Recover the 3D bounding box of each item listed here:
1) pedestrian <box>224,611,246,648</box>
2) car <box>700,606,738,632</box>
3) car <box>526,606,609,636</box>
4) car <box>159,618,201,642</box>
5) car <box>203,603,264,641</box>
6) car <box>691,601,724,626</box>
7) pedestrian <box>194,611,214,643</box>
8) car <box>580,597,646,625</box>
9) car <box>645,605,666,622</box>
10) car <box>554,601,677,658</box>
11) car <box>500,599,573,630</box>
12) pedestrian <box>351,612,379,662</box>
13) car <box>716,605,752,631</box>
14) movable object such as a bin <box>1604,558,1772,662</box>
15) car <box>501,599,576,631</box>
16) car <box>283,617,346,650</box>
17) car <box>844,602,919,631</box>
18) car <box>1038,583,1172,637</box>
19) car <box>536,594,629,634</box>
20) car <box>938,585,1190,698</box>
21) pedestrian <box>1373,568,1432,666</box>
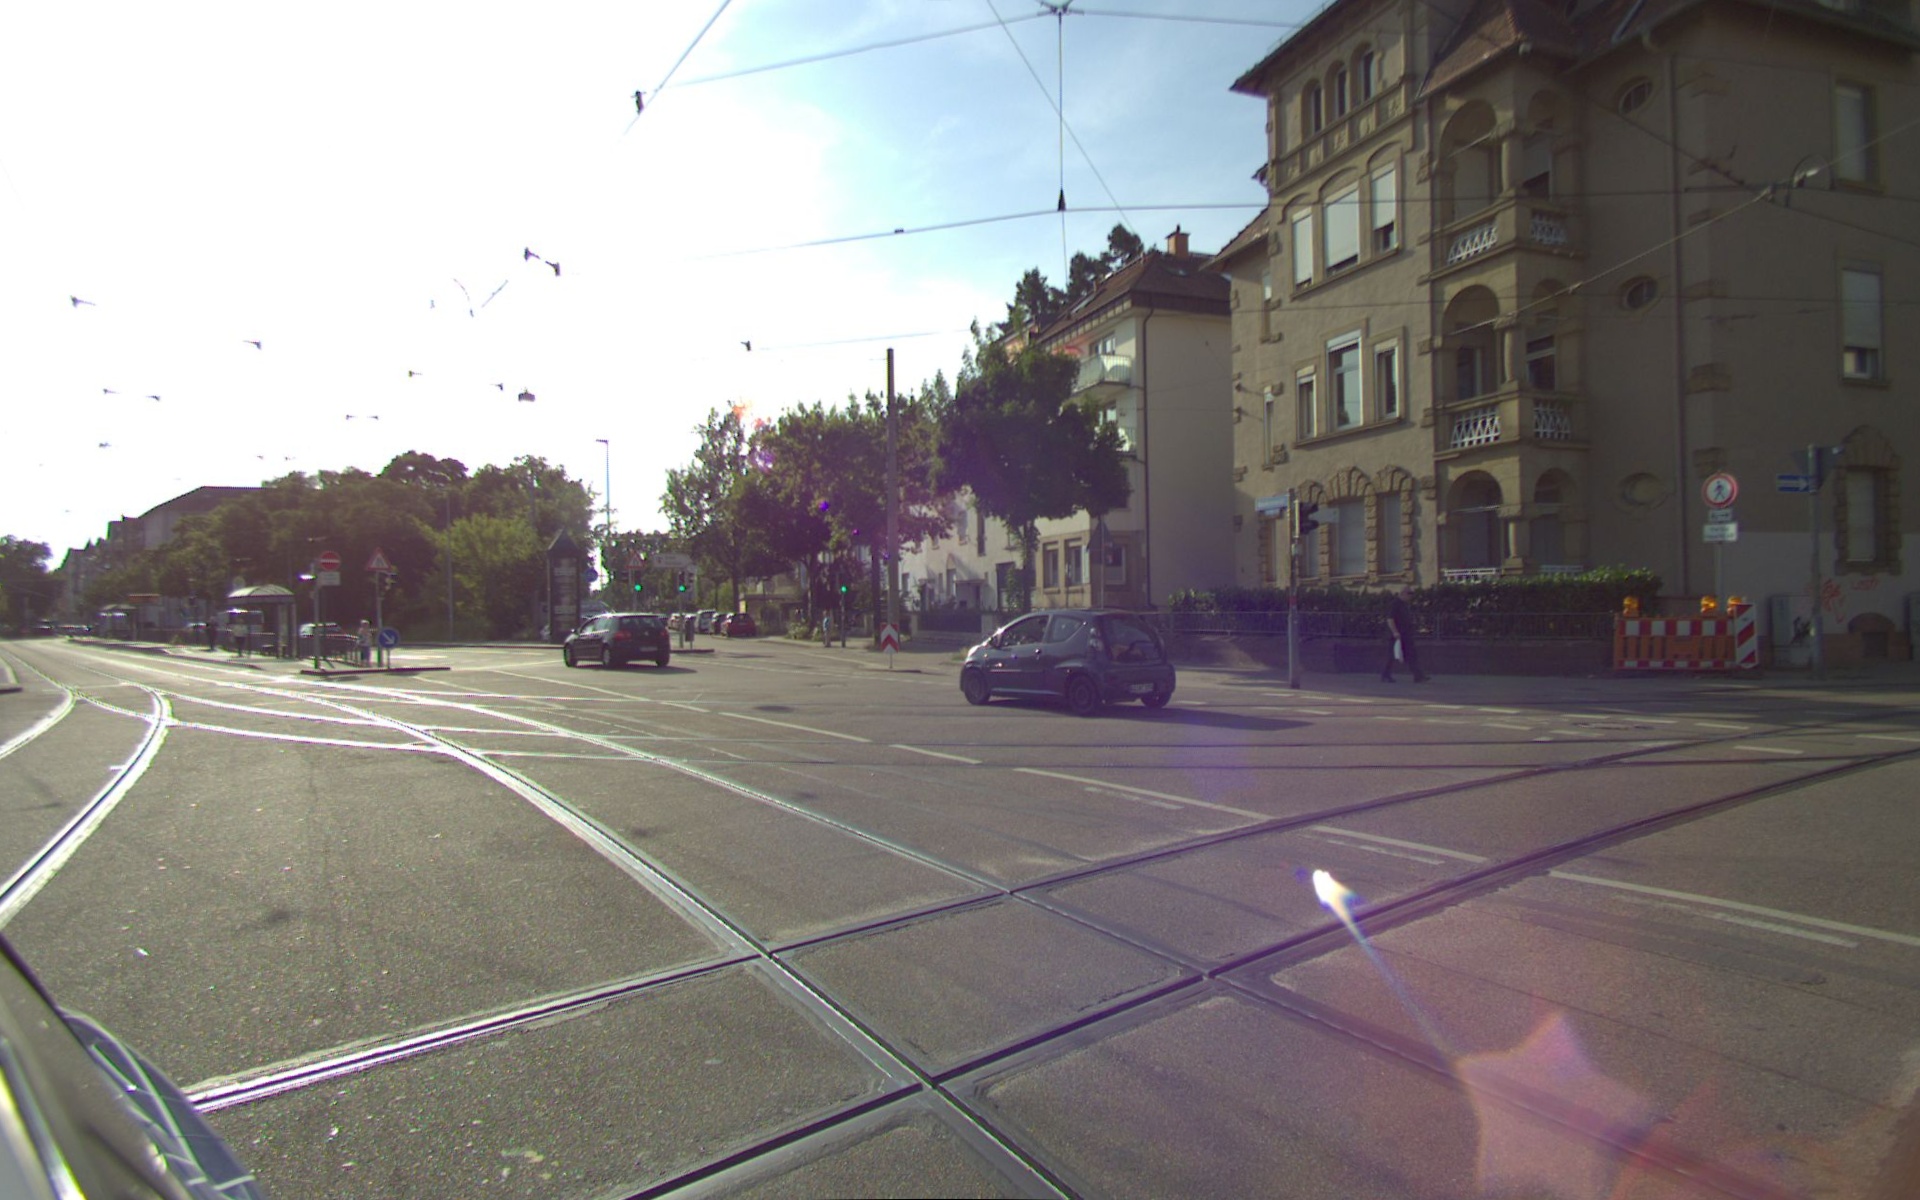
[{"bbox_3d":[-32.779,1.326,45.749,0.698,1.640,0.728,-1,-1,-45],"label":"pedestrian"},{"bbox_3d":[-15.622,1.254,65.428,1.786,1.585,4.013,-1,-1,-21],"label":"car"},{"bbox_3d":[-20.303,1.072,52.346,3.931,1.439,1.778,-1,-1,-24],"label":"car"},{"bbox_3d":[-56.783,2.190,73.680,4.122,1.537,1.659,-3,-2,41],"label":"car"},{"bbox_3d":[-46.274,1.418,64.405,5.252,2.256,2.153,-2,-1,43],"label":"car"},{"bbox_3d":[-18.734,1.003,75.059,1.786,1.813,4.013,-1,-1,-22],"label":"car"},{"bbox_3d":[-39.856,1.429,53.350,0.726,1.640,0.690,-1,-1,-45],"label":"pedestrian"},{"bbox_3d":[-23.106,0.703,67.427,3.931,1.767,1.860,-1,-1,-26],"label":"car"},{"bbox_3d":[-34.756,1.571,115.376,1.786,1.813,4.013,-1,-1,-24],"label":"car"},{"bbox_3d":[-9.595,0.812,28.003,1.746,1.444,4.004,-1,-1,-43],"label":"car"},{"bbox_3d":[-25.540,0.861,61.011,3.931,1.767,1.860,-1,-1,-26],"label":"car"},{"bbox_3d":[-19.554,1.212,33.246,0.715,1.601,0.584,-2,-1,42],"label":"pedestrian"},{"bbox_3d":[-13.579,1.069,60.686,1.523,1.437,3.877,-1,-1,-21],"label":"car"},{"bbox_3d":[12.506,0.188,17.440,2.360,1.722,0.263,-2,-1,15],"label":"movable object such as a bin"},{"bbox_3d":[-24.676,0.853,59.256,3.931,1.767,1.860,-1,-1,-26],"label":"car"},{"bbox_3d":[-32.527,1.700,50.917,1.746,1.506,4.747,0,-2,-44],"label":"car"},{"bbox_3d":[-4.546,0.926,58.277,3.931,1.570,1.862,-1,-1,-19],"label":"car"},{"bbox_3d":[4.725,0.324,33.049,3.931,1.644,1.782,-1,-1,-20],"label":"car"},{"bbox_3d":[-28.740,1.052,77.062,6.488,2.830,1.778,-2,0,-24],"label":"car"},{"bbox_3d":[1.414,0.568,14.924,1.613,1.444,3.635,-1,-1,-38],"label":"car"},{"bbox_3d":[7.720,0.282,17.656,0.669,1.664,0.606,-1,0,-18],"label":"pedestrian"}]
